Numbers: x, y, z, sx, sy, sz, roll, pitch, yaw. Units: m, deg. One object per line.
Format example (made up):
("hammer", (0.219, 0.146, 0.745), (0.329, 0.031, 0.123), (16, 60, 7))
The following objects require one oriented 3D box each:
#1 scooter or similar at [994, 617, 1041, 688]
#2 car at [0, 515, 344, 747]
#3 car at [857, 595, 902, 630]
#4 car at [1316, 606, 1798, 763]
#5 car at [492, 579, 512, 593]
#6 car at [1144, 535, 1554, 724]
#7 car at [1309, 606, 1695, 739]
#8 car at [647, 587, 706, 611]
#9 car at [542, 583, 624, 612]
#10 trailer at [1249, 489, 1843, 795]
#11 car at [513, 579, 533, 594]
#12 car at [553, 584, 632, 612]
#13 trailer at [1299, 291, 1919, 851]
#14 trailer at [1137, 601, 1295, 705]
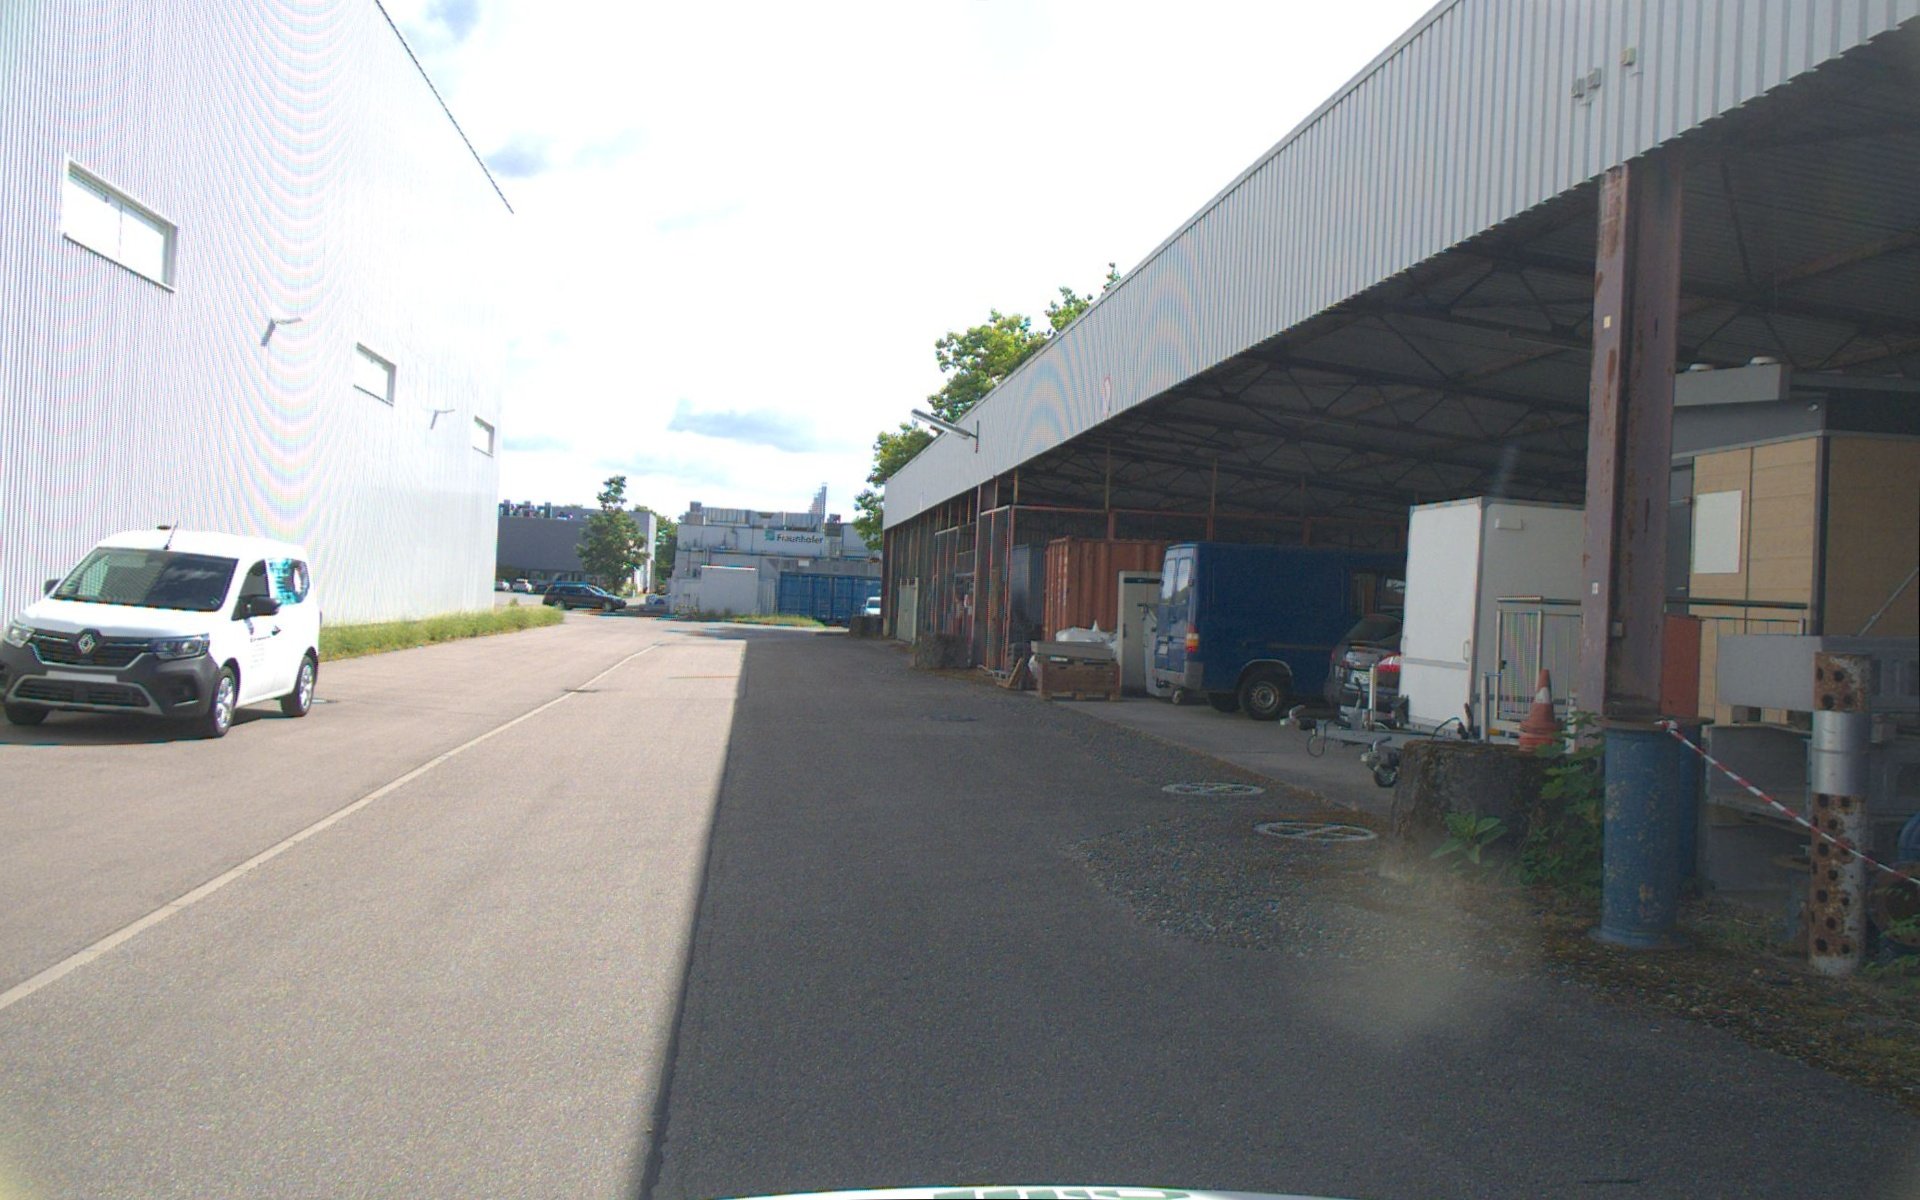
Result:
("scooter or similar", (0.967, 0.876, 28.217), (0.510, 1.154, 1.589), (2, -1, -8))
("car", (-7.560, 0.243, 15.974), (1.892, 1.821, 4.590), (4, 0, -7))
("car", (-4.228, 0.642, 86.597), (1.944, 1.621, 4.333), (3, 1, -8))
("car", (5.985, 0.832, 16.786), (4.266, 1.458, 1.860), (1, 0, -11))
("car", (-52.624, -1.585, 190.080), (1.843, 1.564, 4.026), (1, 0, -10))
("car", (5.330, 0.414, 23.002), (5.119, 2.337, 2.080), (2, -1, -9))
("car", (6.457, 0.843, 19.934), (4.030, 1.479, 1.847), (1, 0, -8))
("car", (-21.398, -0.060, 124.854), (4.198, 1.596, 1.984), (3, -2, -8))
("car", (-22.040, -0.124, 96.792), (4.444, 1.468, 1.984), (3, -2, -8))
("trailer", (4.866, 0.356, 14.012), (4.455, 2.376, 1.686), (1, 0, -7))
("car", (-50.390, -1.544, 190.618), (1.843, 1.564, 4.026), (1, 0, -10))
("car", (-22.225, -0.125, 100.051), (4.444, 1.468, 1.900), (3, -2, -8))
("trailer", (7.758, -0.090, 11.873), (10.097, 3.353, 2.671), (1, 0, -7))
("trailer", (3.901, 0.799, 25.426), (2.053, 1.488, 1.640), (2, -1, -5))
